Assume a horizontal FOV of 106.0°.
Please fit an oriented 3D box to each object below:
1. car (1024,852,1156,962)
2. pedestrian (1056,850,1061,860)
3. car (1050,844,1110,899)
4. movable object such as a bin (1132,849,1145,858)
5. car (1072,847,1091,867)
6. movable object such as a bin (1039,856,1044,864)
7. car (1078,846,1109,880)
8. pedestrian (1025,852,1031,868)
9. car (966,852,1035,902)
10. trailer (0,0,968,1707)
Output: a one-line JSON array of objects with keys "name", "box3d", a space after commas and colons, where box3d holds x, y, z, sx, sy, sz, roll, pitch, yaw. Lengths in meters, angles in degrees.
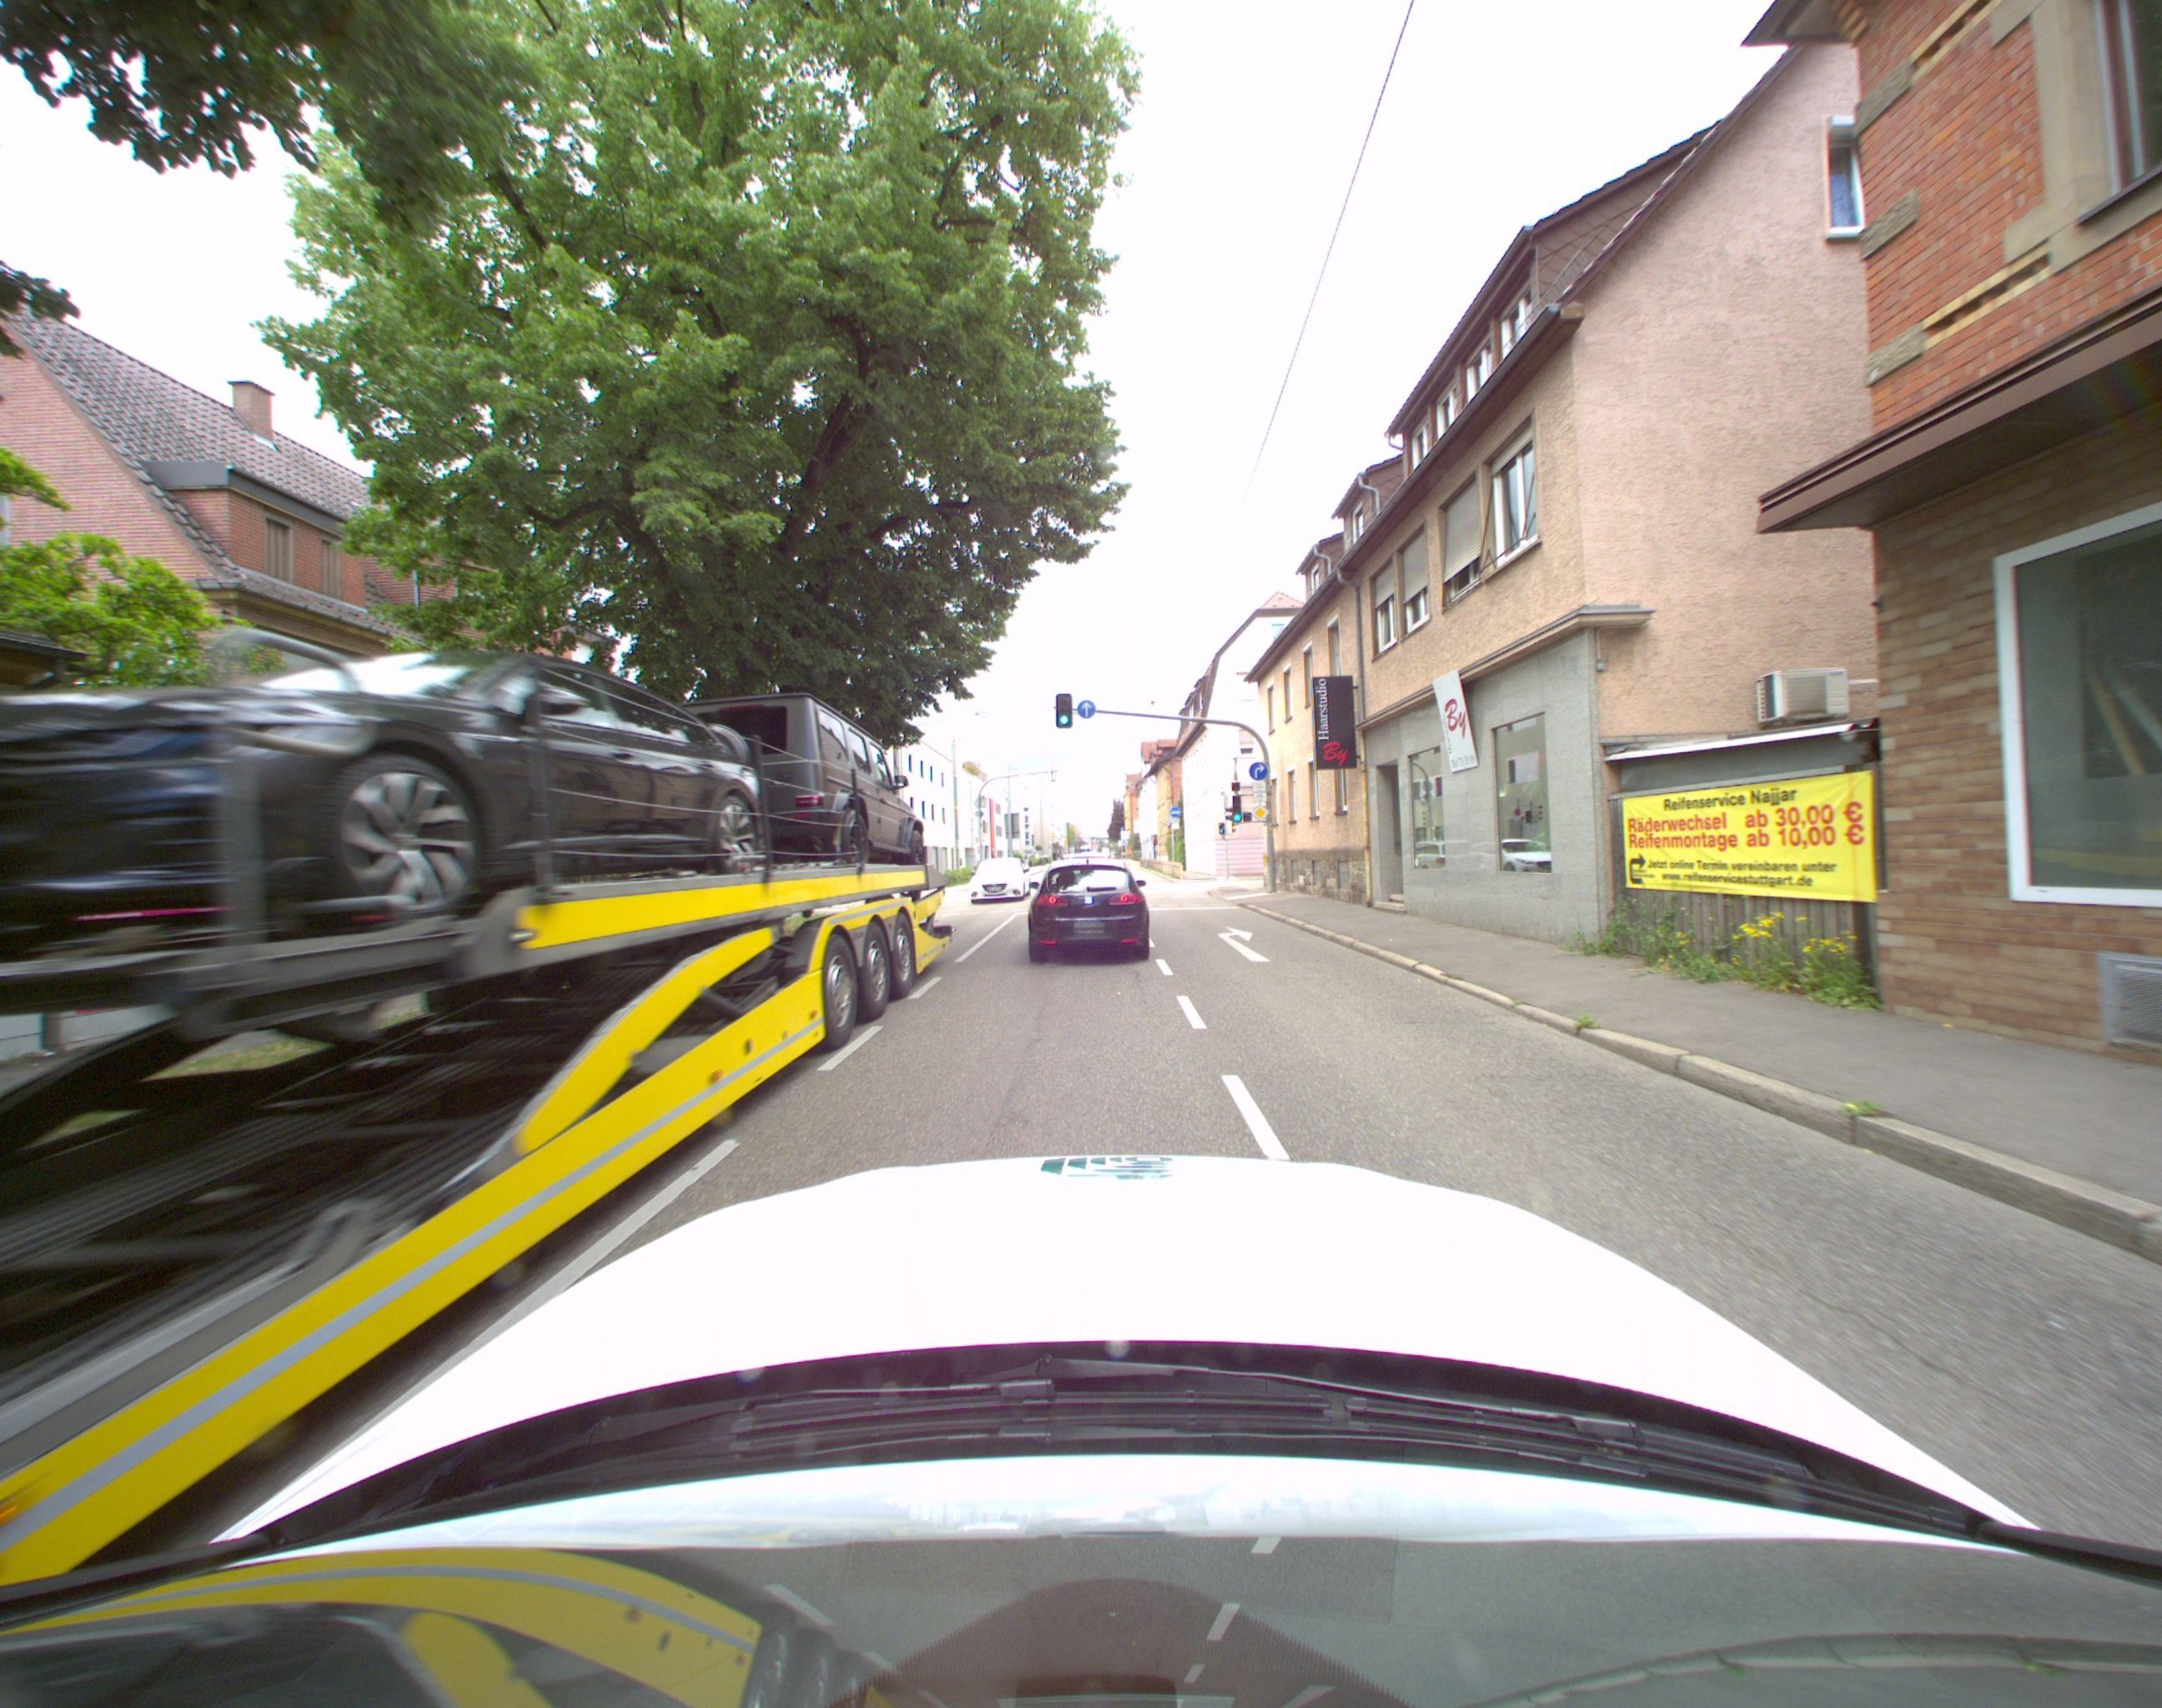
[{"name": "car", "box3d": [0.159, 0.726, 12.996, 1.753, 1.442, 4.001, -1, 0, 1]}, {"name": "pedestrian", "box3d": [-3.770, 0.139, 135.602, 0.728, 1.729, 0.859, -1, -1, 0]}, {"name": "car", "box3d": [-0.006, 0.566, 27.639, 1.836, 1.693, 4.000, -1, 0, 1]}, {"name": "movable object such as a bin", "box3d": [8.753, -0.063, 123.743, 1.811, 1.437, 1.993, -1, 0, 2]}, {"name": "car", "box3d": [0.063, 0.260, 69.569, 1.526, 1.693, 3.693, -1, 0, 1]}, {"name": "movable object such as a bin", "box3d": [-5.194, 0.812, 106.600, 0.547, 1.078, 0.612, -1, -1, 2]}, {"name": "car", "box3d": [0.662, 0.461, 43.374, 1.526, 1.693, 3.693, -1, 0, 1]}, {"name": "pedestrian", "box3d": [-5.227, 0.570, 80.298, 0.525, 1.548, 0.541, -1, -1, 1]}, {"name": "car", "box3d": [-2.716, 0.740, 28.408, 1.760, 1.469, 4.228, -5, 0, 1]}, {"name": "trailer", "box3d": [-3.374, -0.271, 5.501, 2.848, 3.808, 14.394, -1, 0, 1]}]
